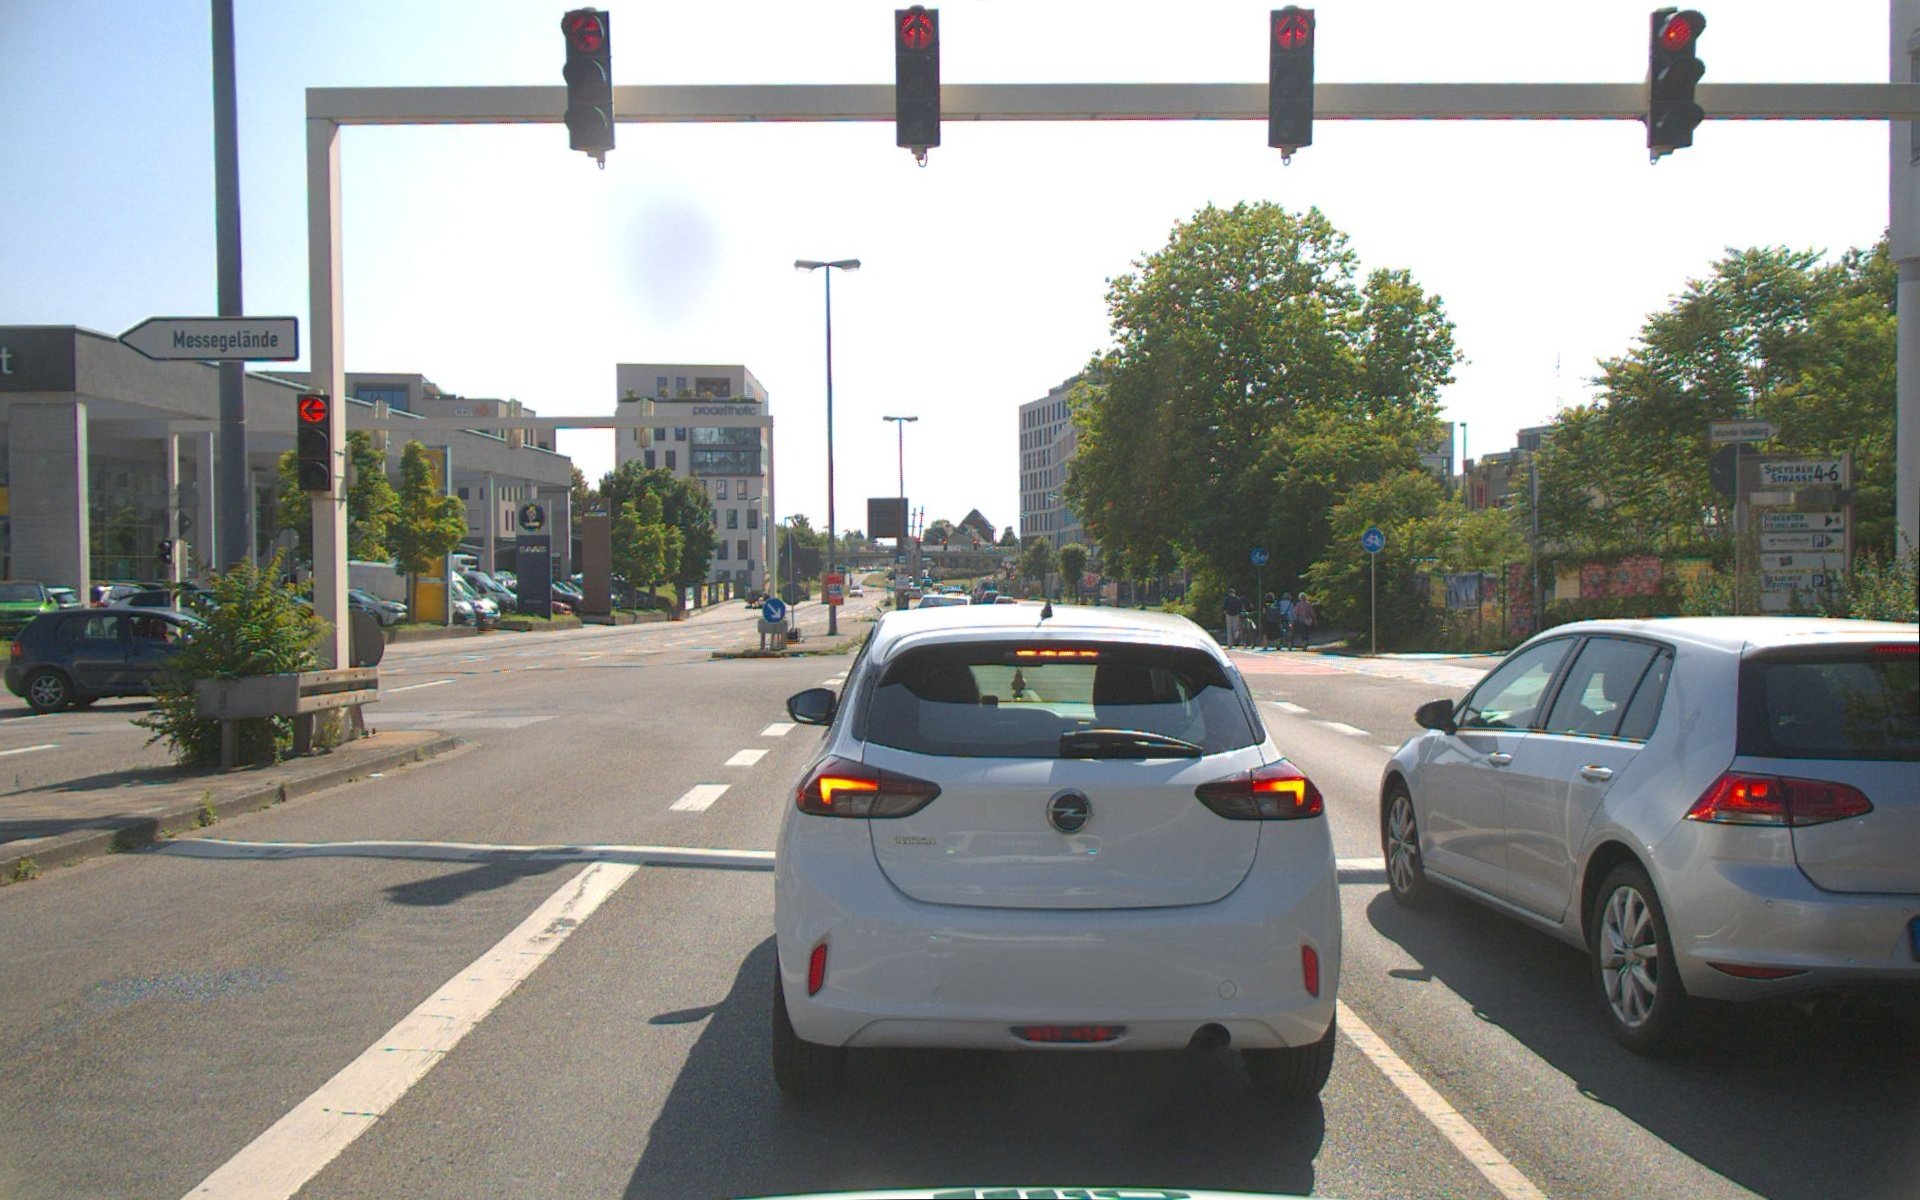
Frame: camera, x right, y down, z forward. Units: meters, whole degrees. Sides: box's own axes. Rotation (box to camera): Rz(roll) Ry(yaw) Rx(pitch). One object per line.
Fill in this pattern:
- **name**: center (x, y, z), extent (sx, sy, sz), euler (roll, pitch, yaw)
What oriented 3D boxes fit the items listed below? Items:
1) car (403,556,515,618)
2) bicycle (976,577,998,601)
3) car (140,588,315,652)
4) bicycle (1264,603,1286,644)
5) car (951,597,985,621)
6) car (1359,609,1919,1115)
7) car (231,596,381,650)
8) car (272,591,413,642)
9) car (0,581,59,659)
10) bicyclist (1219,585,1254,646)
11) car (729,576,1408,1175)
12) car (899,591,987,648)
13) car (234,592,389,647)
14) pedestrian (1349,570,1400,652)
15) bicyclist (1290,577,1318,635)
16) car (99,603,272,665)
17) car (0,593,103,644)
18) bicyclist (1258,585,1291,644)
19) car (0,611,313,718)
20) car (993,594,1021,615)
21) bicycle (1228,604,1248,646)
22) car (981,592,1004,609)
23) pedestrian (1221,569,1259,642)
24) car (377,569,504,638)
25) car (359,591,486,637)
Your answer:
- **car**: center (-21.989, -0.584, 72.708), extent (4.265, 2.646, 2.001), euler (-1, 0, 4)
- **bicycle**: center (2.517, -1.005, 155.624), extent (1.953, 2.195, 3.999), euler (0, 0, -1)
- **car**: center (-21.473, 0.564, 48.617), extent (4.211, 1.796, 1.999), euler (-1, 0, -4)
- **bicycle**: center (9.003, 0.674, 47.293), extent (0.366, 1.167, 1.034), euler (1, -1, -3)
- **car**: center (0.463, 0.580, 103.201), extent (1.771, 1.410, 3.995), euler (1, -1, -5)
- **car**: center (3.116, 0.776, 6.882), extent (1.771, 1.454, 3.998), euler (0, 0, -3)
- **car**: center (-22.084, 0.750, 55.976), extent (4.270, 1.726, 1.999), euler (-1, 0, -4)
- **car**: center (-22.045, 0.581, 59.173), extent (4.270, 1.726, 1.999), euler (-1, 0, -4)
- **car**: center (-22.563, 0.491, 38.945), extent (1.887, 1.764, 3.250), euler (-1, -1, -37)
- **bicyclist**: center (8.222, 0.457, 49.234), extent (0.861, 1.803, 0.863), euler (0, 0, -1)
- **car**: center (0.250, 0.699, 6.270), extent (1.743, 1.520, 3.999), euler (-1, 0, -1)
- **car**: center (-0.384, 0.492, 42.183), extent (1.952, 1.355, 4.001), euler (1, -1, 3)
- **car**: center (-21.021, 0.613, 53.765), extent (4.270, 1.726, 1.999), euler (0, 0, -3)
- **pedestrian**: center (10.466, 0.269, 41.761), extent (1.006, 2.049, 1.038), euler (0, 0, -1)
- **bicyclist**: center (9.990, 0.177, 48.040), extent (0.639, 1.666, 0.659), euler (1, -1, -1)
- **car**: center (-21.489, 0.926, 46.040), extent (3.912, 1.627, 1.997), euler (-1, 0, -8)
- **car**: center (-26.267, 0.532, 45.525), extent (4.276, 1.290, 1.996), euler (-2, -1, -9)
- **bicyclist**: center (9.004, 0.406, 47.356), extent (0.675, 1.672, 0.775), euler (0, 0, -9)
- **car**: center (-12.085, 0.929, 25.065), extent (3.916, 1.467, 1.994), euler (-1, 0, -12)
- **car**: center (3.309, 0.336, 117.131), extent (1.769, 1.410, 3.999), euler (1, -1, -1)
- **bicycle**: center (8.260, 0.739, 49.211), extent (0.365, 1.238, 1.153), euler (1, 0, -1)
- **car**: center (2.740, 0.041, 139.532), extent (1.769, 1.410, 3.999), euler (1, -1, -1)
- **pedestrian**: center (8.888, 0.167, 52.489), extent (1.006, 2.278, 1.038), euler (0, 0, -1)
- **car**: center (-21.143, 0.138, 67.408), extent (4.401, 2.731, 2.130), euler (0, 0, 8)
- **car**: center (-21.071, 0.555, 64.961), extent (4.265, 1.726, 2.001), euler (-1, 0, 4)
